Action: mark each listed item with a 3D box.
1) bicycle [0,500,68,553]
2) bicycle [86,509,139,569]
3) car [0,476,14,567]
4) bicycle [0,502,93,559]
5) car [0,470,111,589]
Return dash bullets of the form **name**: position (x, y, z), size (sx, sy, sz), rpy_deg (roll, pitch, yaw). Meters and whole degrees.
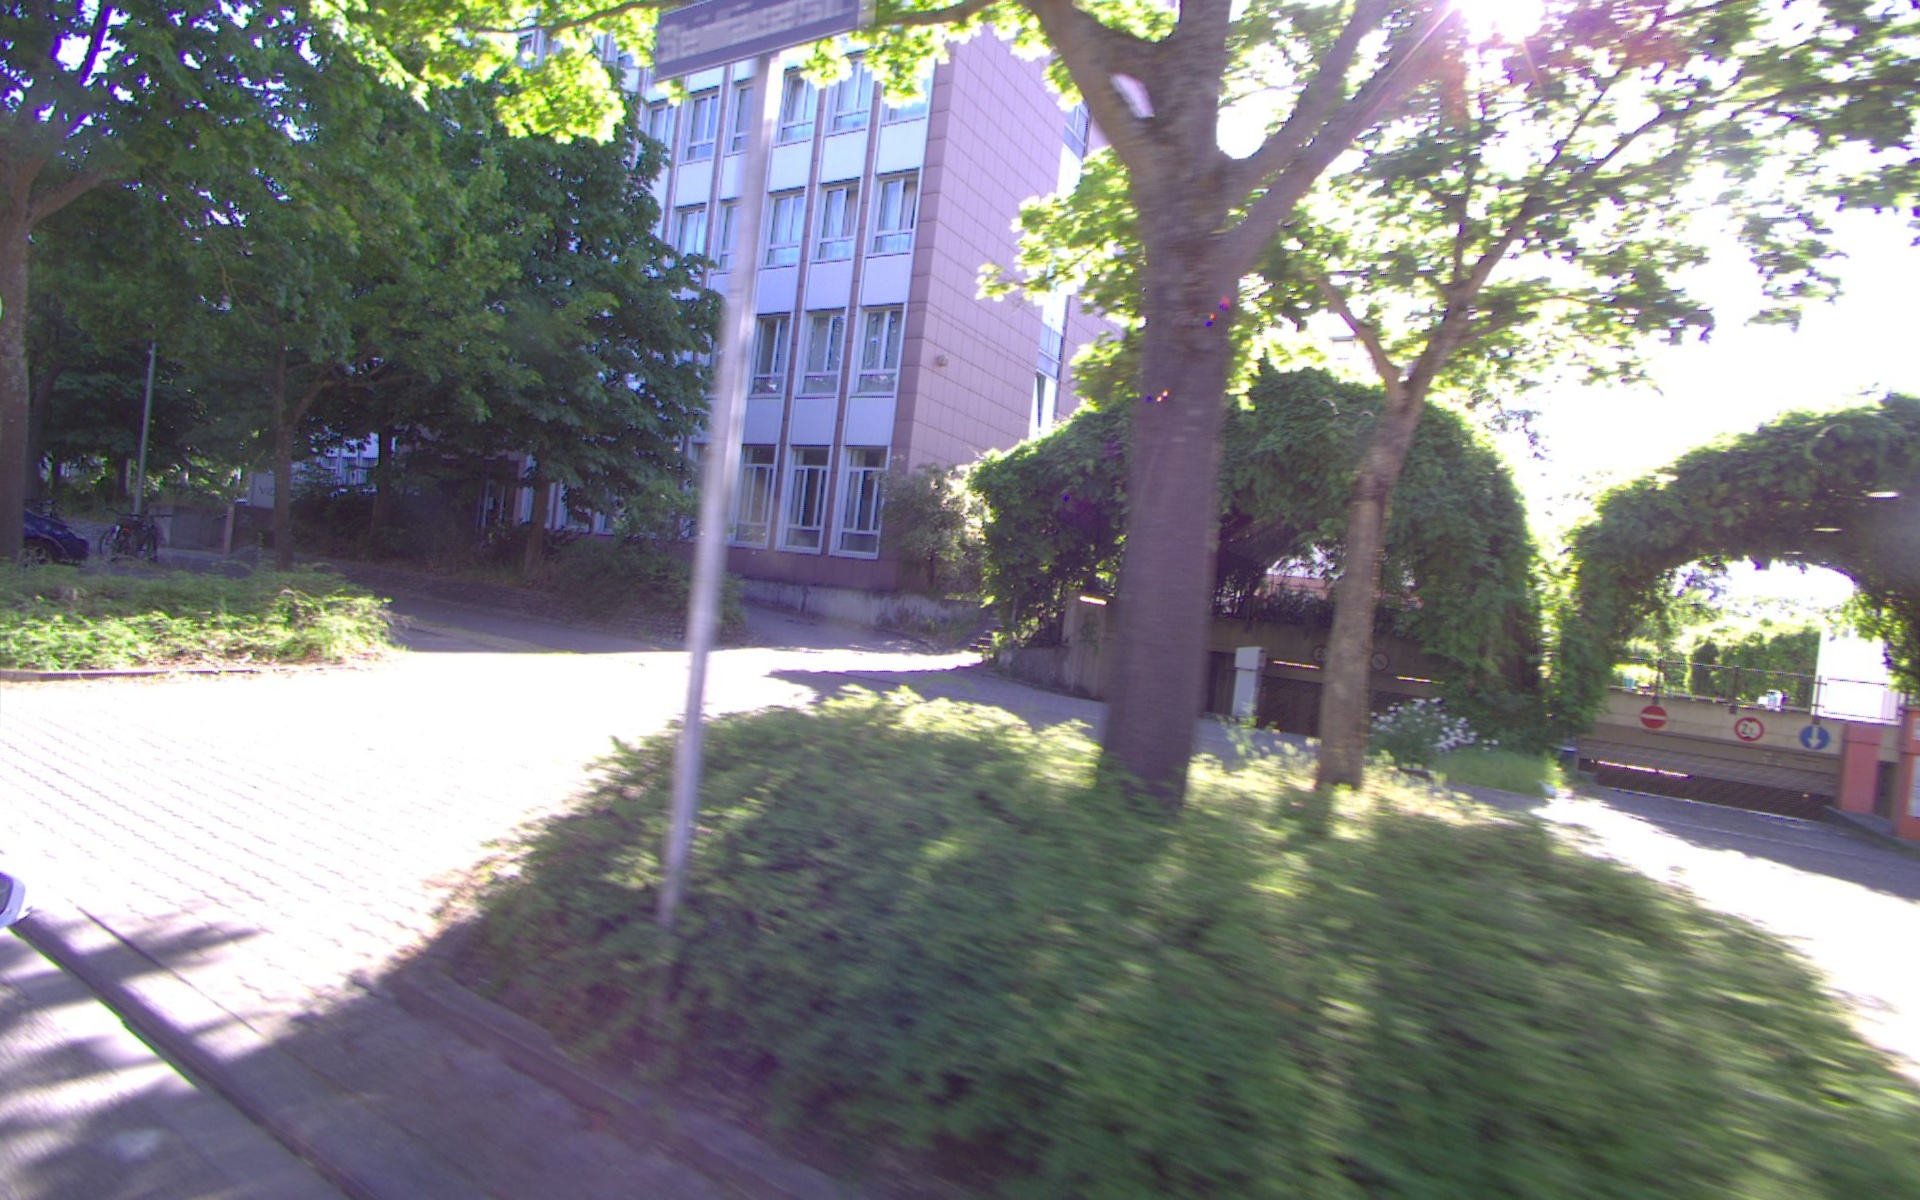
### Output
- **bicycle**: position (-22.144, -1.754, 24.048), size (1.754, 1.091, 0.380), rpy_deg (6, 0, 21)
- **bicycle**: position (-16.937, -1.231, 20.098), size (1.856, 1.060, 0.378), rpy_deg (6, 2, 37)
- **car**: position (-18.283, -1.520, 16.322), size (1.864, 1.546, 3.884), rpy_deg (7, 1, 31)
- **bicycle**: position (-21.188, -1.598, 23.213), size (1.757, 1.091, 0.379), rpy_deg (7, 0, -10)
- **car**: position (-15.340, -1.209, 14.518), size (1.826, 1.654, 4.274), rpy_deg (6, 0, 29)
